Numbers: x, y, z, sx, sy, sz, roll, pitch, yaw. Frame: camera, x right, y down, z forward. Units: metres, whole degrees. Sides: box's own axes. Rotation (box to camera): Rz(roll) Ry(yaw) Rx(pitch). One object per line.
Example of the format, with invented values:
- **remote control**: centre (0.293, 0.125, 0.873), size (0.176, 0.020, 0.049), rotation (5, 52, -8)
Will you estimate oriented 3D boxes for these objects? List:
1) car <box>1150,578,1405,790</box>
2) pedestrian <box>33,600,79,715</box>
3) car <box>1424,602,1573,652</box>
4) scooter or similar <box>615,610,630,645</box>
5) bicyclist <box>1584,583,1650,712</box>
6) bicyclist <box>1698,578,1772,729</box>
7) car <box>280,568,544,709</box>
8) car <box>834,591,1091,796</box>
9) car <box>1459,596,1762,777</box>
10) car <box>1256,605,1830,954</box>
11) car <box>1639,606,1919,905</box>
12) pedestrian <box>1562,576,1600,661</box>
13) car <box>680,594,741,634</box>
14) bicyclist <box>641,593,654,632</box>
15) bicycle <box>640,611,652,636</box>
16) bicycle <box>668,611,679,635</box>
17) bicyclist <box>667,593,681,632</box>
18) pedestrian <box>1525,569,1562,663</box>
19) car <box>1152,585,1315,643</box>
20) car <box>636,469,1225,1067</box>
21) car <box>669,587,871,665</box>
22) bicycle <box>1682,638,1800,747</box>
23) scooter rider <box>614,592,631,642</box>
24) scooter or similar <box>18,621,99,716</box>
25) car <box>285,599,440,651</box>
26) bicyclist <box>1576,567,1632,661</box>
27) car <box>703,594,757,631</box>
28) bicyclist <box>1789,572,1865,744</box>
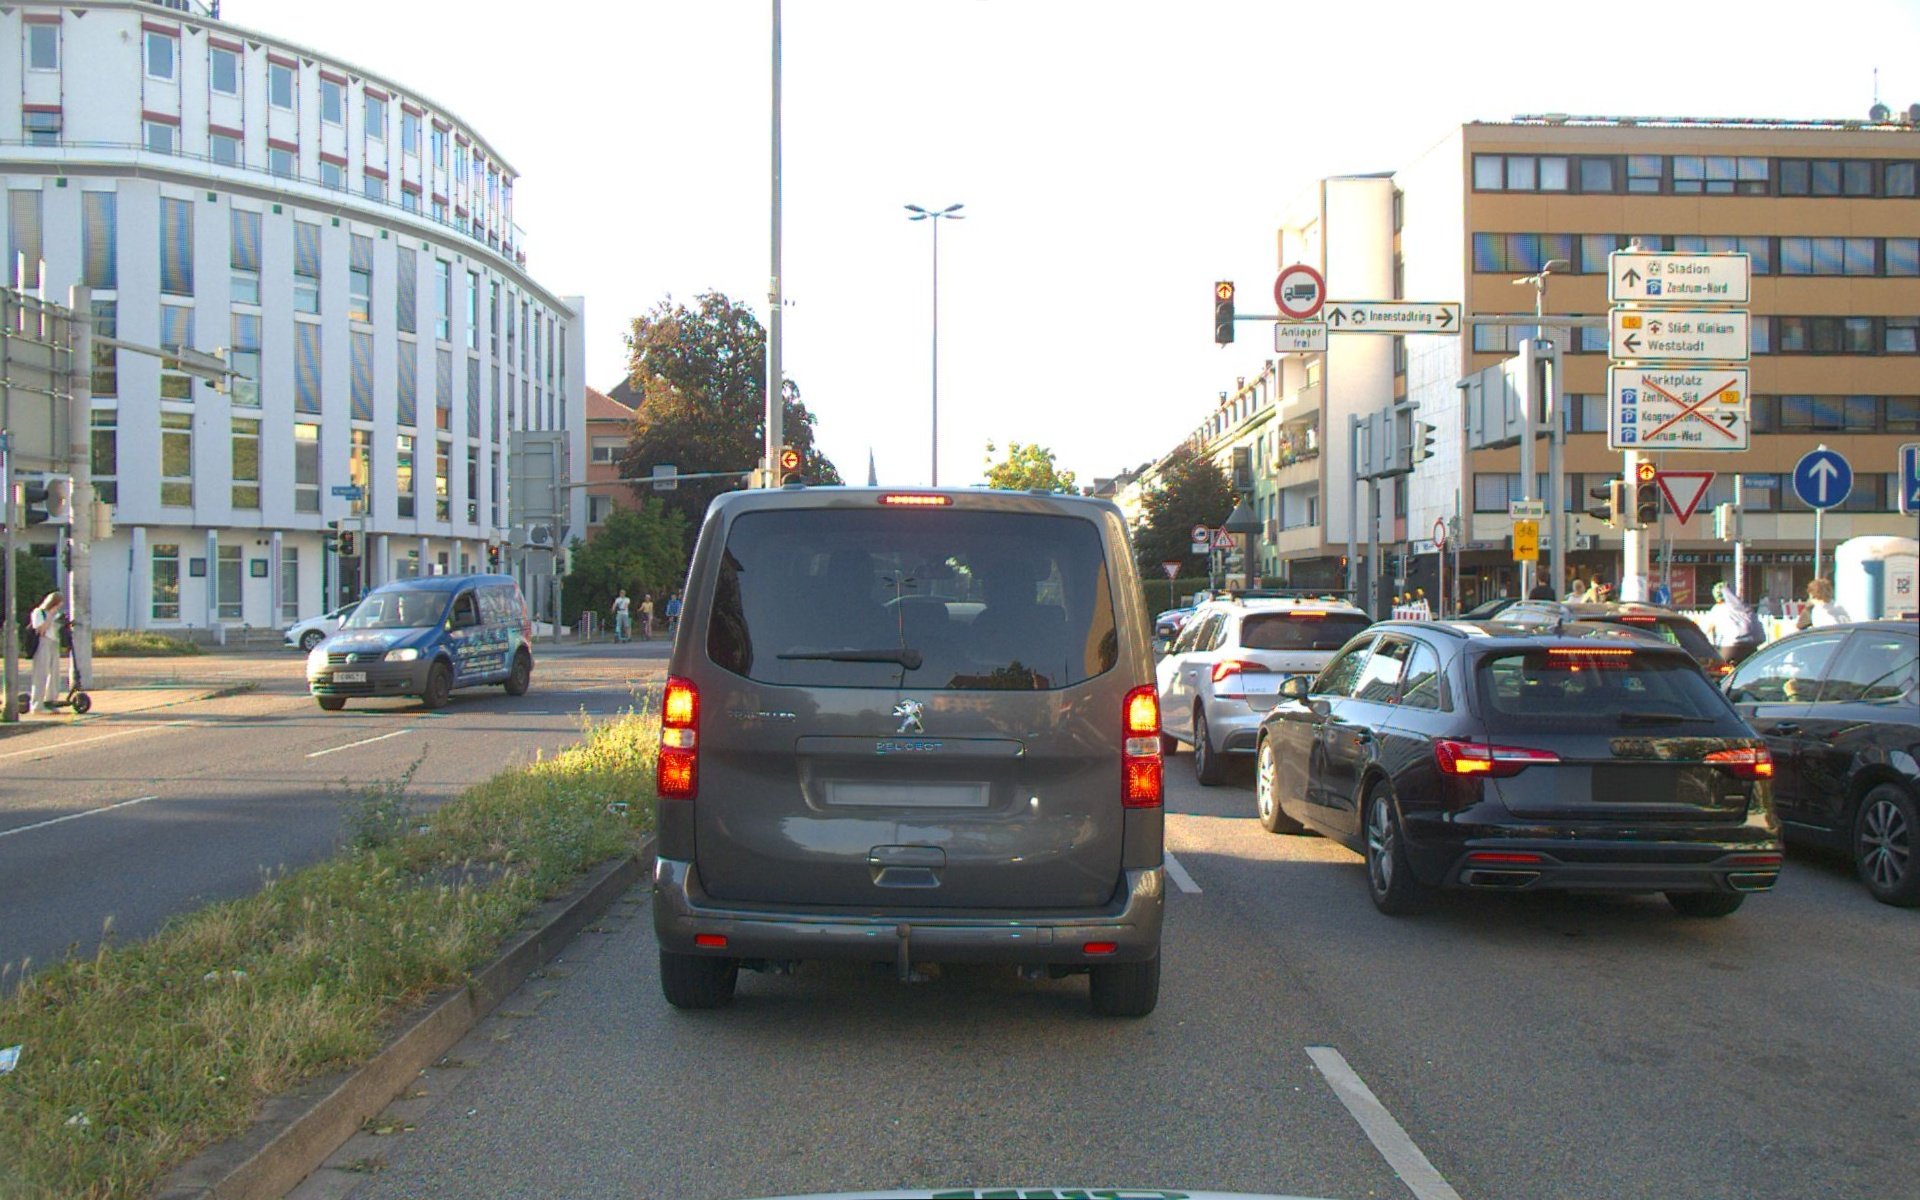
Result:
- **car**: centre (2.724, 0.657, 14.932), size (1.498, 1.641, 3.744), rotation (1, 0, -1)
- **pedestrian**: centre (-12.217, 0.771, 22.354), size (0.466, 1.532, 0.334), rotation (0, 0, -13)
- **car**: centre (15.620, 0.765, 48.051), size (3.743, 1.378, 1.725), rotation (0, 0, -7)
- **scooter or similar**: centre (-11.857, 0.948, 58.106), size (0.279, 1.209, 1.169), rotation (0, 0, -1)
- **bicyclist**: centre (8.068, 0.568, 20.323), size (0.503, 1.552, 0.725), rotation (0, 0, -1)
- **bicyclist**: centre (8.140, 0.545, 17.388), size (0.432, 1.552, 0.725), rotation (0, 0, -1)
- **car**: centre (-7.762, 0.503, 23.899), size (1.951, 1.849, 4.233), rotation (0, 0, 8)
- **car**: centre (-0.012, 0.706, 14.614), size (1.953, 1.557, 3.999), rotation (0, 0, -1)
- **car**: centre (5.929, 0.718, 15.456), size (1.474, 1.474, 3.304), rotation (1, 0, -1)
- **car**: centre (2.892, 0.783, 9.233), size (1.647, 1.446, 4.213), rotation (1, 0, -1)
- **car**: centre (5.600, 0.803, 9.738), size (1.600, 1.474, 3.744), rotation (1, 0, -1)
- **pedestrian**: centre (12.429, 0.366, 33.129), size (0.589, 1.700, 0.454), rotation (0, 0, 1)
- **car**: centre (-9.369, 0.513, 62.294), size (1.819, 1.445, 3.998), rotation (0, 0, -2)
- **bicyclist**: centre (-12.531, 0.512, 66.301), size (0.453, 1.548, 0.469), rotation (0, 0, -1)
- **bicycle**: centre (-12.575, 0.932, 66.255), size (0.285, 0.965, 1.072), rotation (0, 0, -1)
- **bicycle**: centre (-11.611, 0.928, 67.106), size (0.270, 0.965, 1.072), rotation (0, 0, -1)
- **bicyclist**: centre (-11.607, 0.501, 67.091), size (0.467, 1.582, 0.509), rotation (0, 0, -1)
- **pedestrian**: centre (11.654, 0.321, 33.030), size (0.558, 1.866, 0.487), rotation (0, 0, 1)
- **car**: centre (7.145, 0.348, 43.266), size (3.929, 1.443, 1.671), rotation (0, 0, -21)
- **car**: centre (-0.125, 0.539, 7.605), size (1.868, 1.896, 4.525), rotation (1, 0, -1)
- **car**: centre (-3.821, 0.491, 33.877), size (1.669, 1.467, 4.224), rotation (0, 0, 37)
- **bicycle**: centre (8.136, 0.937, 17.305), size (0.329, 1.025, 1.855), rotation (0, 0, -1)
- **scooter rider**: centre (-11.852, 0.588, 58.126), size (0.471, 1.727, 0.636), rotation (0, 0, -1)
- **scooter or similar**: centre (-12.173, 0.912, 22.349), size (0.877, 1.255, 0.370), rotation (0, 0, -12)
- **car**: centre (-16.480, 0.670, 45.749), size (3.709, 1.396, 1.648), rotation (0, 0, -7)
- **bicyclist**: centre (11.386, 0.239, 29.261), size (0.605, 1.616, 0.814), rotation (1, 1, -4)
- **car**: centre (-9.403, 0.505, 67.930), size (1.819, 1.445, 3.998), rotation (0, 0, -2)
- **bicyclist**: centre (7.978, 0.524, 15.227), size (0.432, 1.552, 0.482), rotation (0, 0, -1)
